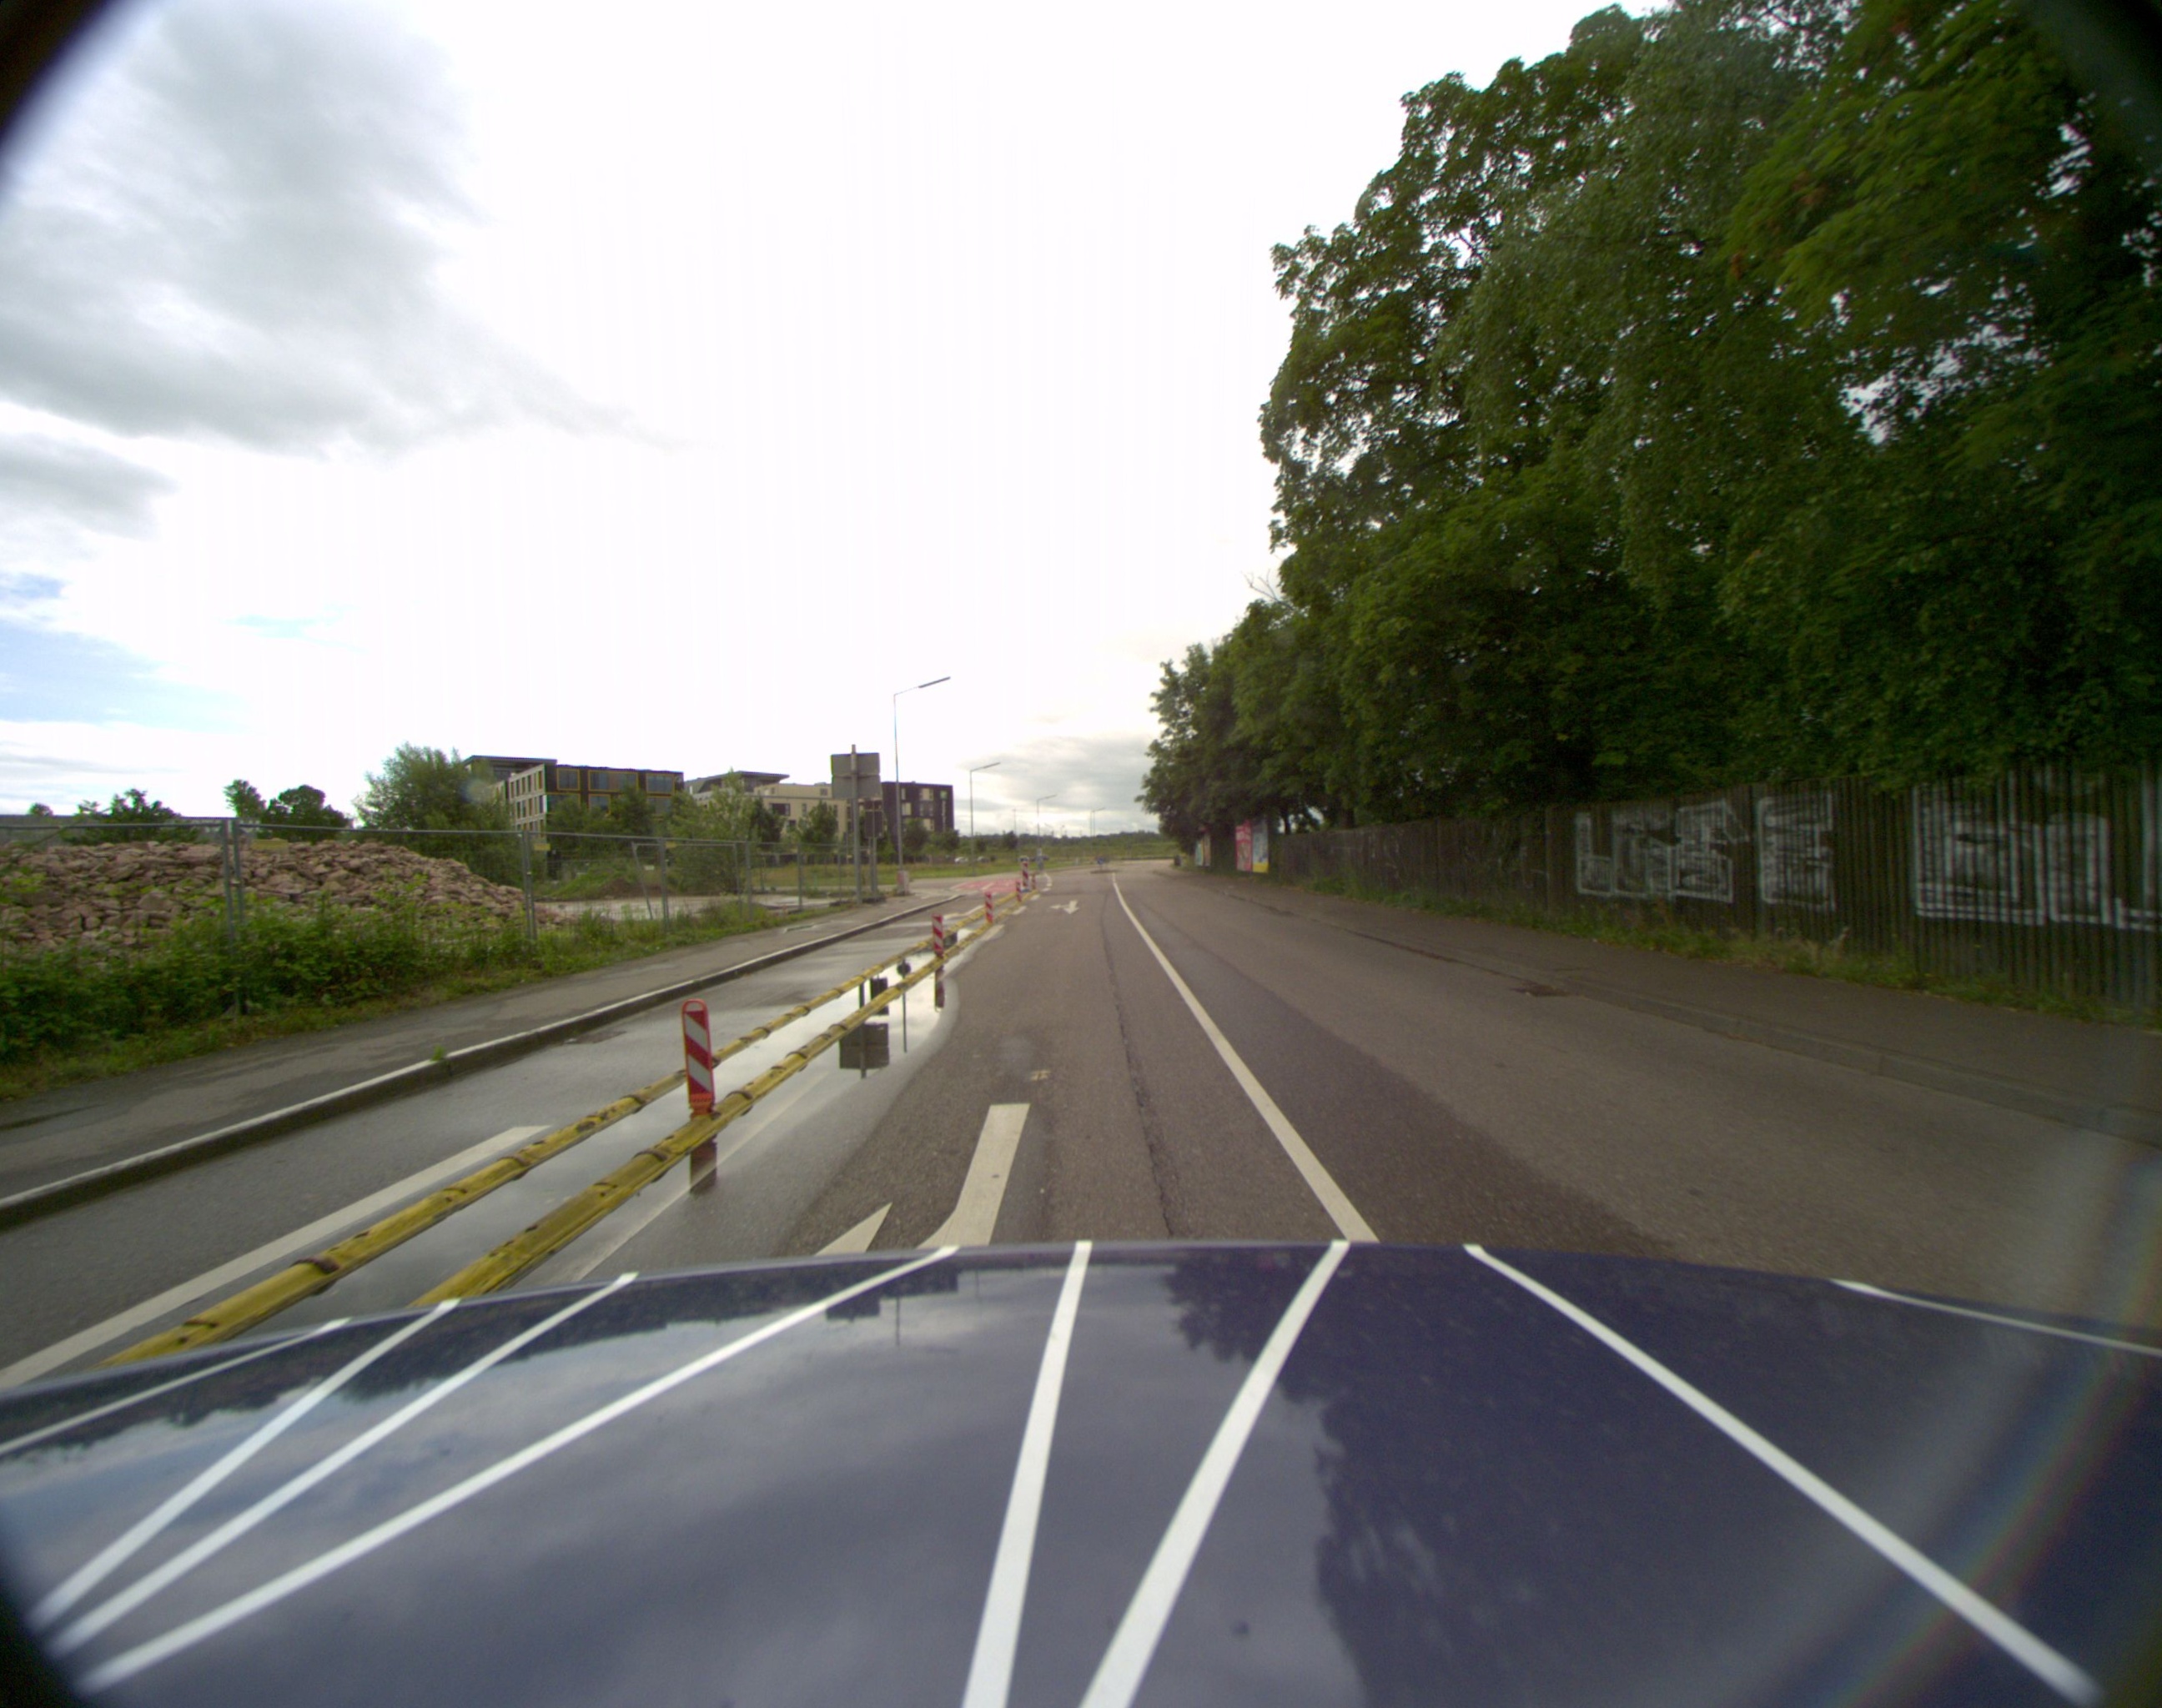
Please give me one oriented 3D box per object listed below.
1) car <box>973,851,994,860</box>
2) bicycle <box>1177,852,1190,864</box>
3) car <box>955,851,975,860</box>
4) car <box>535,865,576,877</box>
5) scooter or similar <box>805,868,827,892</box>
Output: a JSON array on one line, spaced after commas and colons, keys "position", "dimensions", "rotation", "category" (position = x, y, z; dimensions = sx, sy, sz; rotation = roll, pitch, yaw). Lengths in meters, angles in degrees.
[{"position": [-21.130, 0.319, 164.891], "dimensions": [1.994, 2.002, 4.008], "rotation": [-1, 1, 42], "category": "car"}, {"position": [9.345, 0.402, 69.306], "dimensions": [0.583, 0.993, 1.773], "rotation": [-4, 0, 28], "category": "bicycle"}, {"position": [-26.001, 0.353, 170.148], "dimensions": [1.994, 2.002, 4.008], "rotation": [-1, 1, 42], "category": "car"}, {"position": [-65.369, 2.061, 94.551], "dimensions": [4.008, 1.324, 1.559], "rotation": [-1, 0, -42], "category": "car"}, {"position": [-13.531, 1.334, 38.769], "dimensions": [1.323, 1.179, 0.447], "rotation": [-1, 1, 41], "category": "scooter or similar"}]
